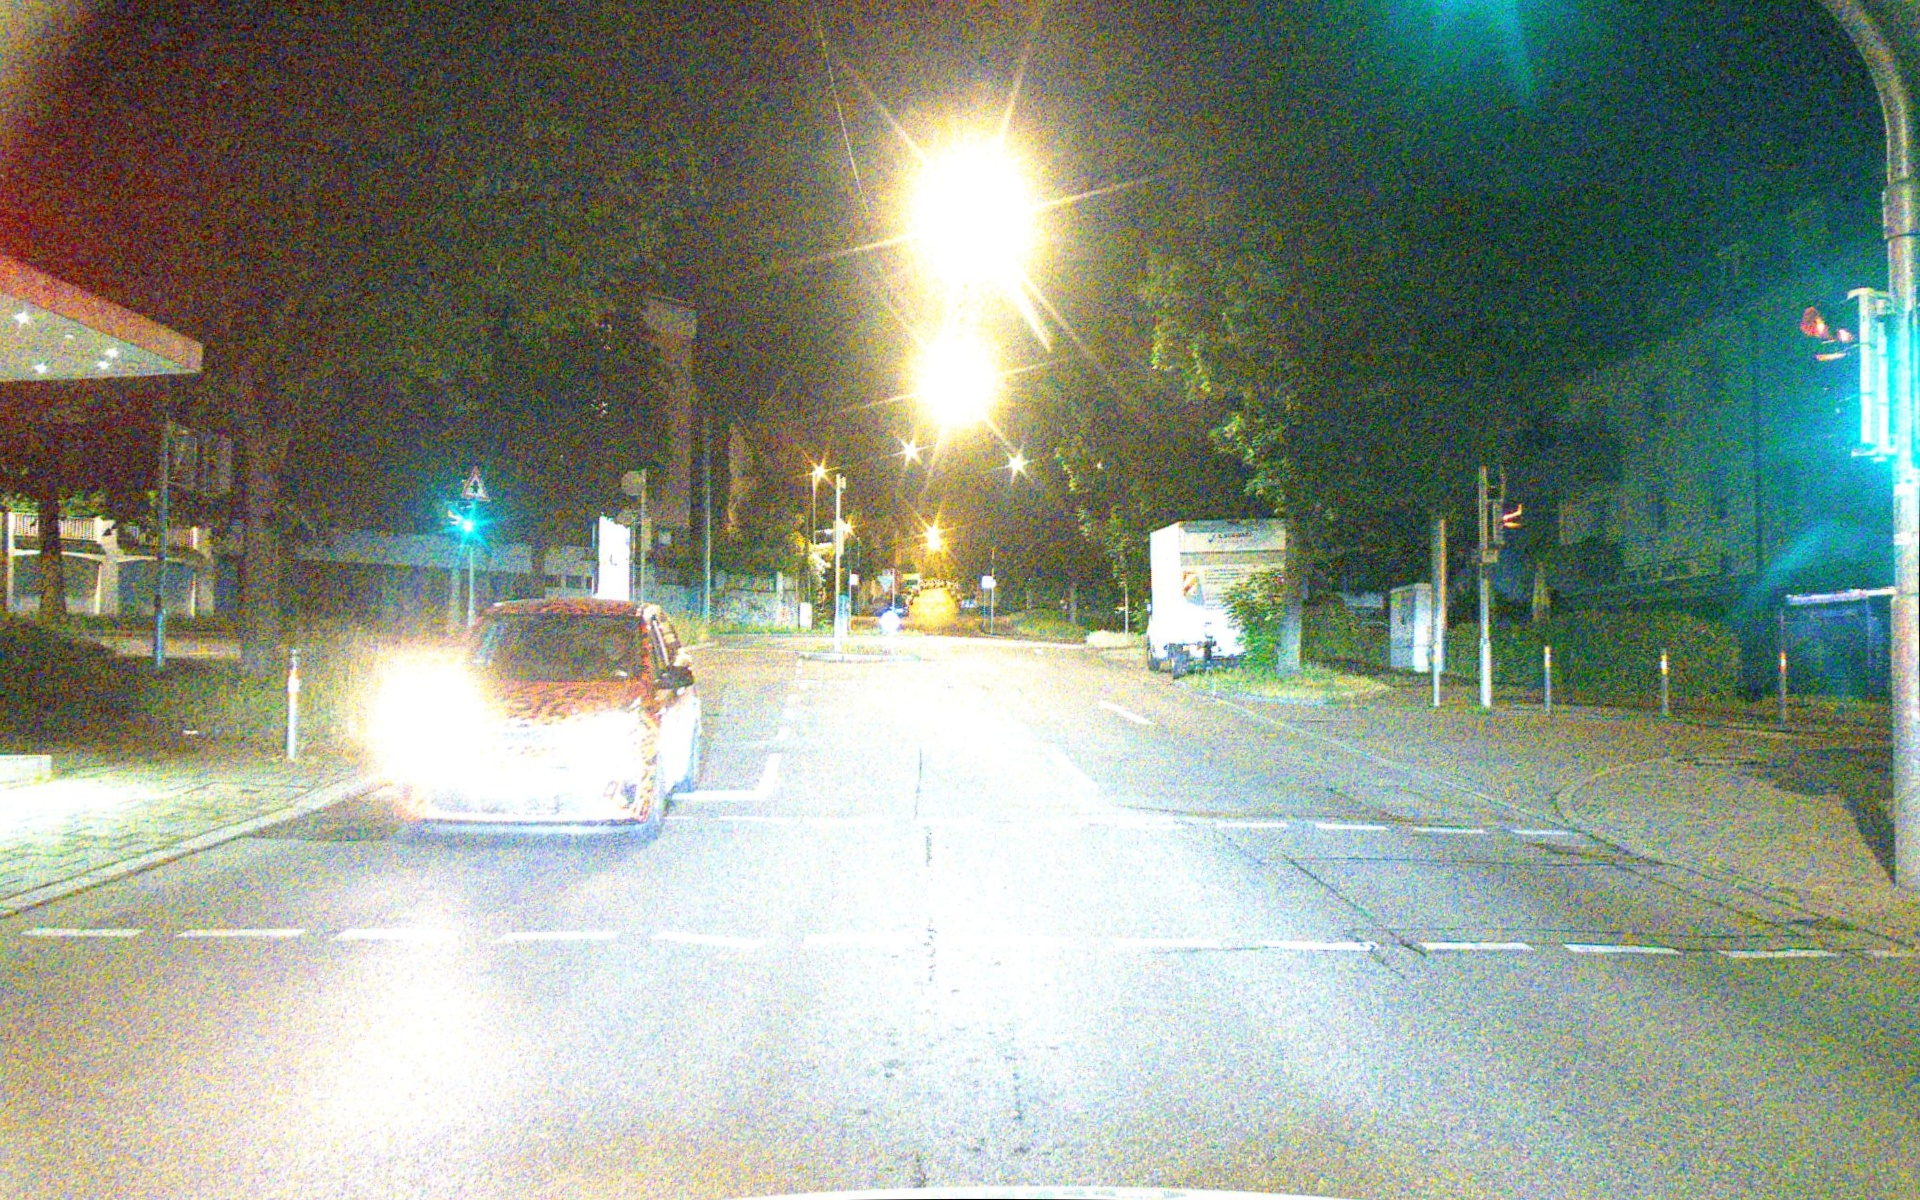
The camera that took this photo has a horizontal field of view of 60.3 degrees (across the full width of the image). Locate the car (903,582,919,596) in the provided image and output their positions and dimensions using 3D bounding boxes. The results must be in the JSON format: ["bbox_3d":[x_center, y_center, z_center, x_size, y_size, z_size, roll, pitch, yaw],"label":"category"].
[{"bbox_3d":[-5.534,-1.222,186.874,1.779,1.517,3.998,1,0,-2],"label":"car"}]

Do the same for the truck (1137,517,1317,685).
[{"bbox_3d":[5.427,0.014,34.710,2.693,3.165,6.257,1,0,0],"label":"truck"}]

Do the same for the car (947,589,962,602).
[{"bbox_3d":[-0.657,-0.533,191.472,1.601,1.477,3.484,1,0,-1],"label":"car"}]

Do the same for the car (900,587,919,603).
[{"bbox_3d":[-4.879,-0.451,160.490,1.779,1.517,3.998,1,0,-2],"label":"car"}]

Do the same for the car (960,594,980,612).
[{"bbox_3d":[0.877,0.278,143.360,1.601,1.477,3.484,1,0,-1],"label":"car"}]

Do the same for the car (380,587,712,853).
[{"bbox_3d":[-2.648,0.691,11.271,1.550,1.528,3.394,1,0,-3],"label":"car"}]

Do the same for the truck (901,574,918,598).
[{"bbox_3d":[-6.436,-1.726,209.499,2.044,2.897,5.828,1,0,-2],"label":"truck"}]

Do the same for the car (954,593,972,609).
[{"bbox_3d":[0.260,0.085,159.271,1.601,1.477,3.484,1,0,-1],"label":"car"}]

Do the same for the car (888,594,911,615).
[{"bbox_3d":[-4.898,0.355,134.357,1.778,1.713,3.999,1,0,-1],"label":"car"}]

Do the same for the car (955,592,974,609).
[{"bbox_3d":[0.414,0.050,153.089,1.601,1.477,3.484,1,0,-1],"label":"car"}]

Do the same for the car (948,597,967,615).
[{"bbox_3d":[-0.210,0.507,138.305,1.561,1.502,3.653,1,0,-1],"label":"car"}]

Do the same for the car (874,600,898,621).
[{"bbox_3d":[-5.264,0.746,118.124,1.601,1.477,3.484,1,0,-1],"label":"car"}]
